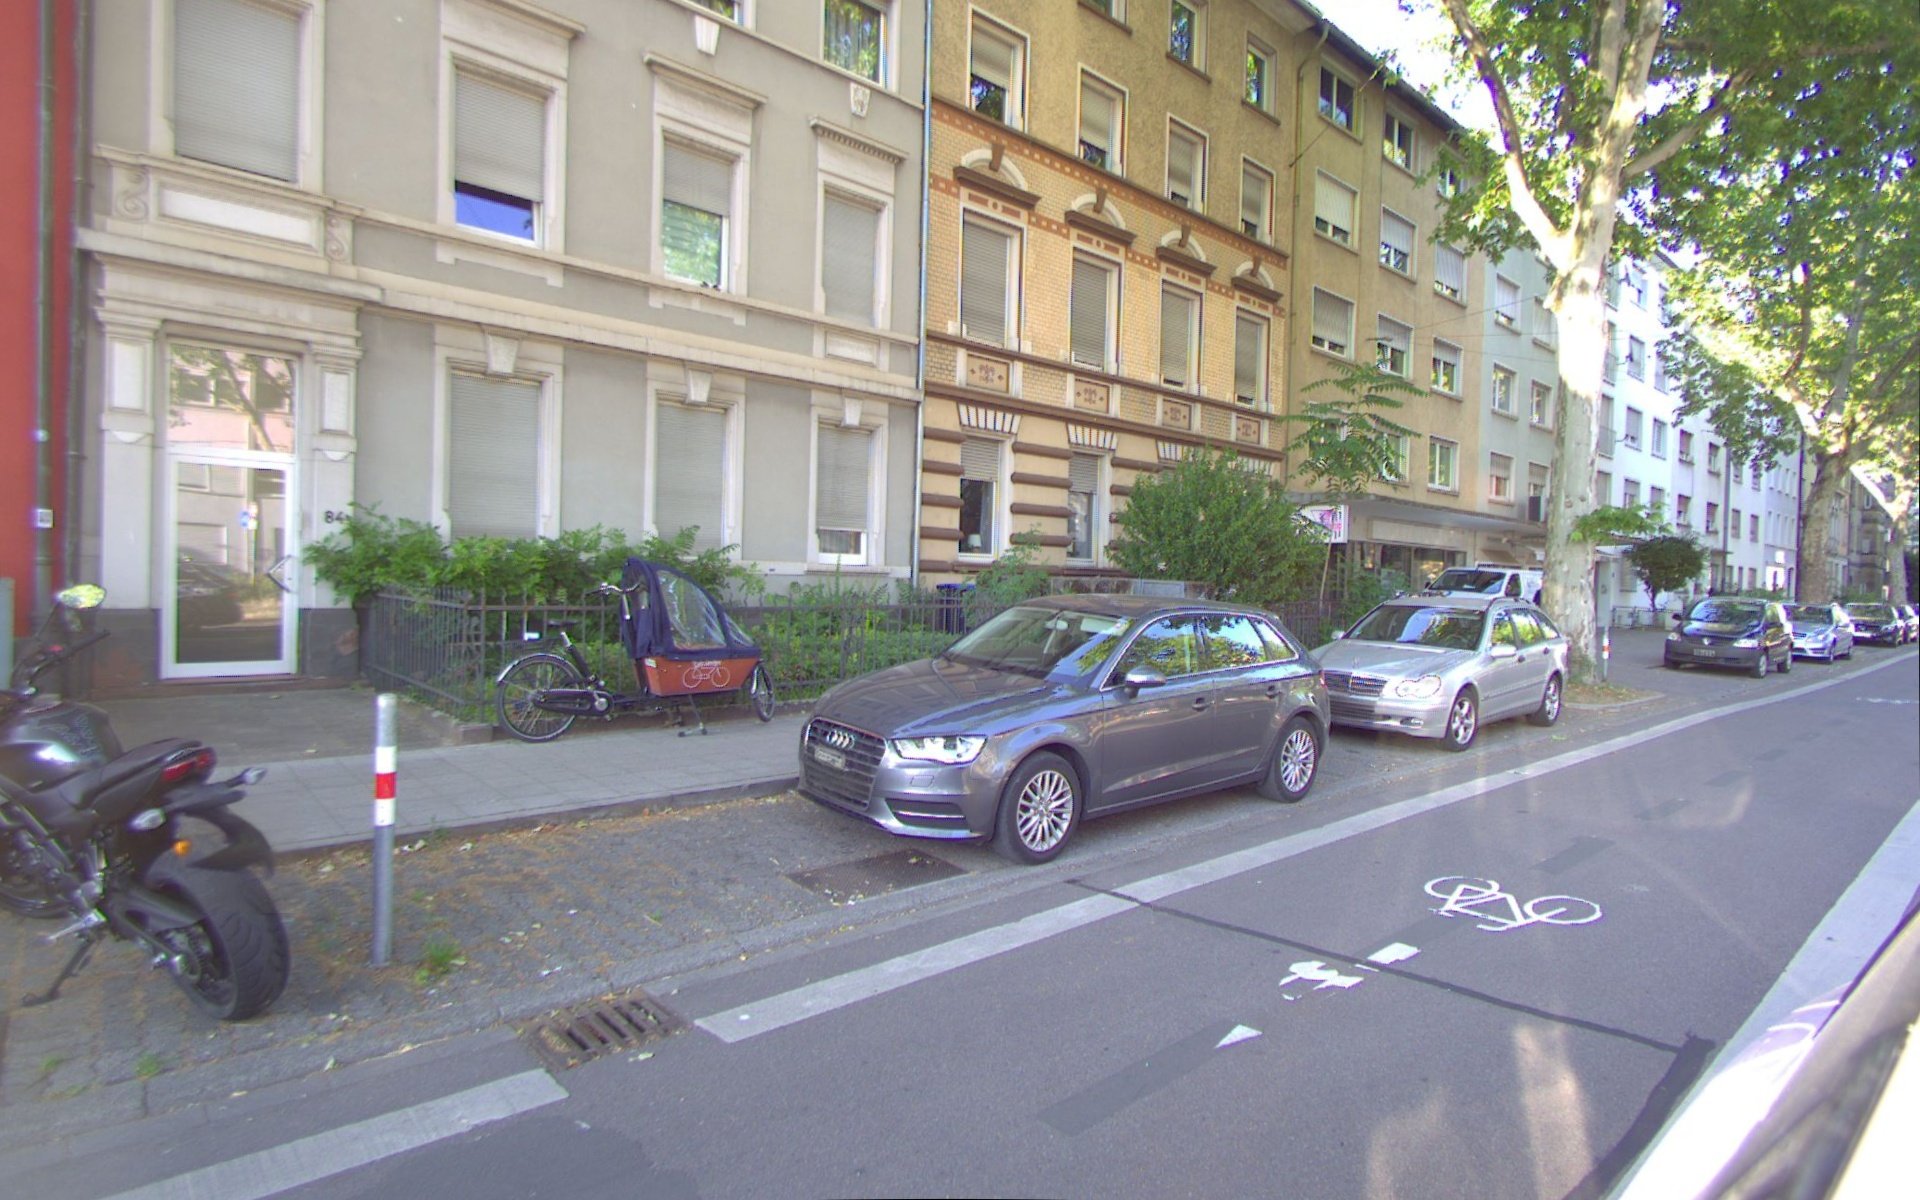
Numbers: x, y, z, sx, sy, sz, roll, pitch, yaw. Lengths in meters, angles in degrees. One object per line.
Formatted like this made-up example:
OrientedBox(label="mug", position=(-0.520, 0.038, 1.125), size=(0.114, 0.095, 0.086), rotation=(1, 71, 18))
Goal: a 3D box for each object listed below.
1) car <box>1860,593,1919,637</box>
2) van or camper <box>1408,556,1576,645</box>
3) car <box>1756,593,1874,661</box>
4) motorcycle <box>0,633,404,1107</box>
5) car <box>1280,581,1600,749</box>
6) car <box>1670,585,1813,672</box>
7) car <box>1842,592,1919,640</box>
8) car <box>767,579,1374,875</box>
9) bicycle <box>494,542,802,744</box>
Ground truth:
OrientedBox(label="car", position=(35.193, 0.515, 37.881), size=(4.289, 1.432, 1.712), rotation=(0, 4, -42))
OrientedBox(label="van or camper", position=(13.179, -0.023, 24.918), size=(5.299, 1.946, 1.945), rotation=(0, 2, -42))
OrientedBox(label="car", position=(21.999, 0.625, 25.960), size=(4.695, 1.561, 1.697), rotation=(0, 2, -42))
OrientedBox(label="motorcycle", position=(-3.022, 0.759, 3.574), size=(2.193, 1.076, 0.760), rotation=(4, 2, 28))
OrientedBox(label="car", position=(5.462, 0.564, 11.209), size=(4.494, 1.469, 1.676), rotation=(0, 2, -43))
OrientedBox(label="car", position=(16.245, 0.524, 20.965), size=(3.932, 1.564, 1.656), rotation=(0, 2, -42))
OrientedBox(label="car", position=(31.667, 0.504, 34.611), size=(4.289, 1.432, 1.712), rotation=(0, 4, -42))
OrientedBox(label="car", position=(0.975, 0.606, 6.981), size=(4.245, 1.414, 1.714), rotation=(0, 2, -41))
OrientedBox(label="bicycle", position=(-2.460, 0.299, 8.235), size=(2.354, 1.445, 0.608), rotation=(0, 0, -41))
